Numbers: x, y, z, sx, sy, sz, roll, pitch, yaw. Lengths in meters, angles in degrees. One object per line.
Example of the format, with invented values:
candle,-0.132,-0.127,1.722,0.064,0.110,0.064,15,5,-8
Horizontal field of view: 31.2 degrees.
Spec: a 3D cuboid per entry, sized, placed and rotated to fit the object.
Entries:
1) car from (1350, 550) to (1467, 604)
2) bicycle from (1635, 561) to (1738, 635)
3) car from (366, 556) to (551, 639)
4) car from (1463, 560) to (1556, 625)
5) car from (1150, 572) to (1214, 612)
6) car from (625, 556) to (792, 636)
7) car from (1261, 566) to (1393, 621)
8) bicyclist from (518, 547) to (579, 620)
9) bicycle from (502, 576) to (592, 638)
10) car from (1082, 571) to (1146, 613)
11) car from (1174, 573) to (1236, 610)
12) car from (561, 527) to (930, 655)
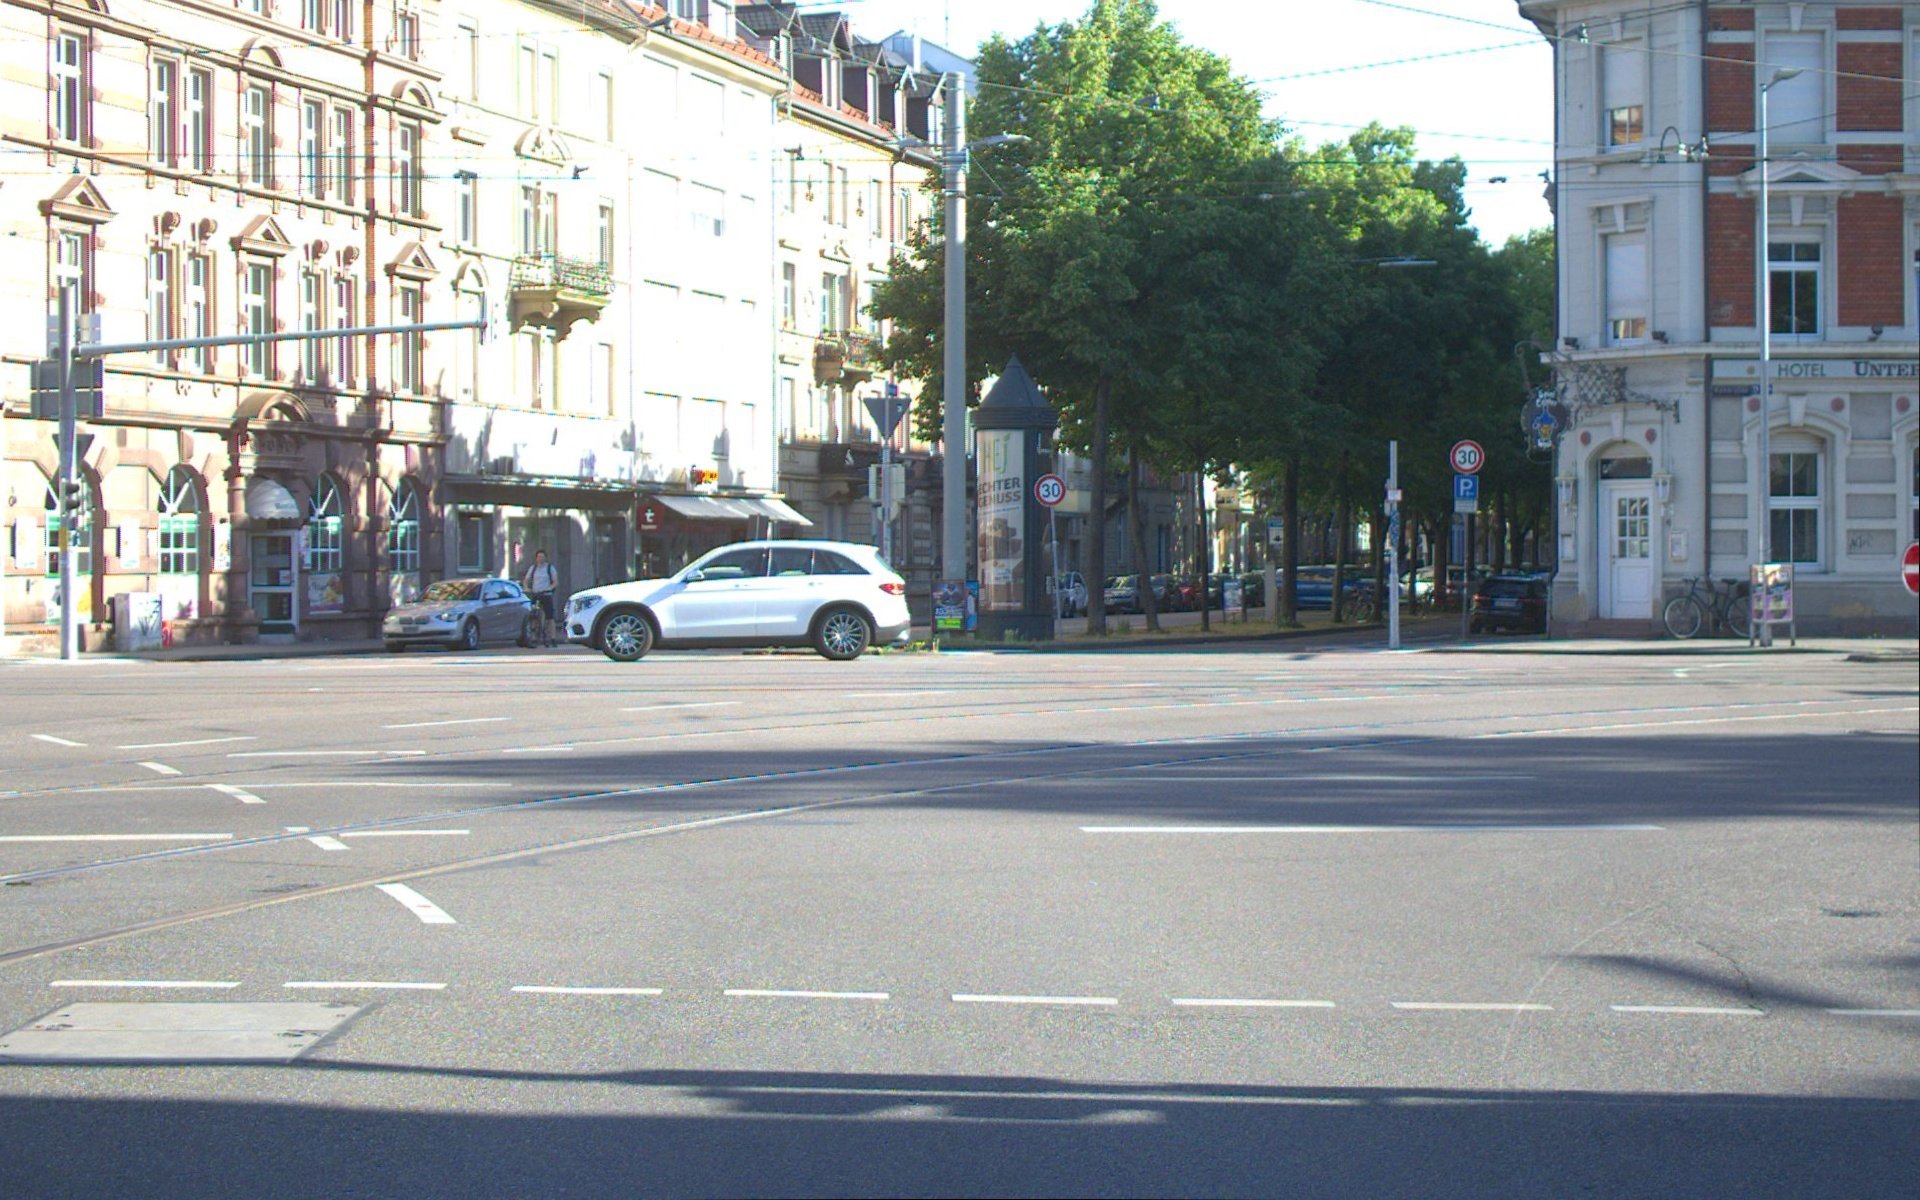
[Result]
car,17.417,-0.883,133.418,4.115,1.912,1.744,3,1,21
bicycle,12.067,-0.039,57.128,1.639,1.218,0.606,0,1,16
car,-9.771,-0.072,67.375,2.098,1.540,4.361,0,1,14
car,13.174,-0.162,82.280,1.652,1.519,3.750,0,0,17
car,8.516,-0.318,131.602,1.742,1.393,4.121,3,1,13
car,-4.873,-0.105,67.160,2.098,1.494,3.998,0,1,14
car,12.299,-0.231,115.219,4.113,1.640,1.745,3,1,15
bicyclist,-7.848,-0.315,65.586,0.794,1.370,1.107,0,1,14
bicycle,-7.861,0.126,65.623,0.751,1.131,2.808,0,1,14
car,5.515,-0.307,122.777,1.741,1.393,4.122,3,1,9
car,9.735,-0.353,136.380,1.742,1.393,4.121,3,1,13
car,-2.914,-0.143,46.282,4.847,1.654,2.000,0,1,-5
